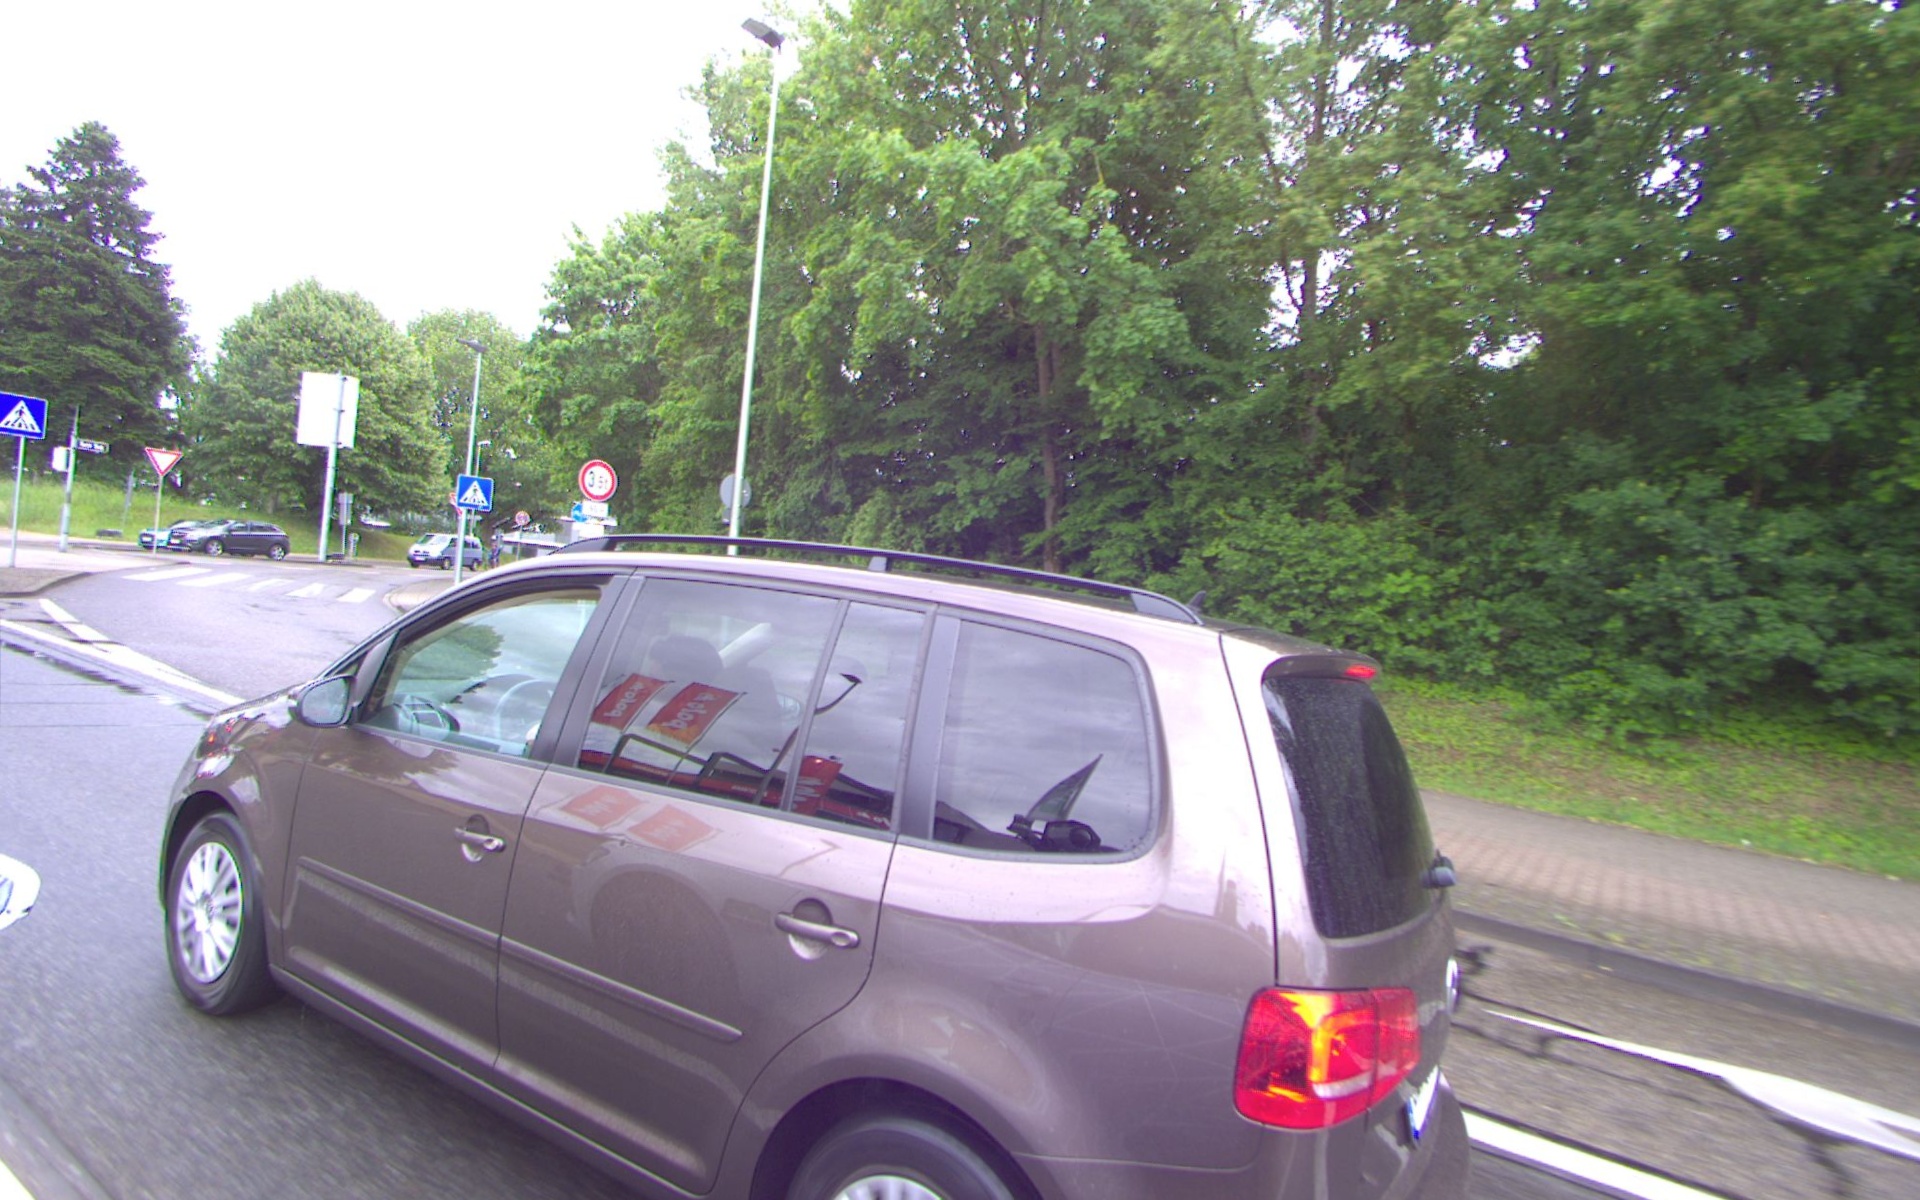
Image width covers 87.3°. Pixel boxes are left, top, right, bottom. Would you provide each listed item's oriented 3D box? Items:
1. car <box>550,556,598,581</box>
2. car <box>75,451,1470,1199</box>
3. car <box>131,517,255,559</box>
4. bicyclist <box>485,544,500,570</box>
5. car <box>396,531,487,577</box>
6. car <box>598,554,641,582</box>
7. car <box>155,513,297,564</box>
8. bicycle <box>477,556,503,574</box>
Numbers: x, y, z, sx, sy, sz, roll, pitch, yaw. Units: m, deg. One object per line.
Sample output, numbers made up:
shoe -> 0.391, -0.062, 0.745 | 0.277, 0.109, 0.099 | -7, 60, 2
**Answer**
car -> -27.595, -2.250, 72.072 | 1.805, 1.465, 3.999 | 6, 0, -1
car -> -0.807, 0.597, 3.176 | 4.061, 1.616, 1.717 | 8, 0, 31
car -> -32.453, -2.609, 42.712 | 1.578, 1.310, 3.999 | 7, 1, 14
bicyclist -> -28.864, -2.644, 62.105 | 0.446, 1.507, 0.562 | 7, 1, 4
car -> -27.535, -2.406, 53.581 | 1.865, 1.874, 4.744 | 8, 0, 5
car -> -24.839, -2.312, 73.499 | 1.788, 1.729, 3.942 | 8, 0, -4
car -> -29.819, -2.480, 41.018 | 1.865, 1.485, 4.331 | 7, 0, 17
bicycle -> -28.945, -2.139, 61.927 | 0.568, 0.964, 1.750 | 7, 0, 4
